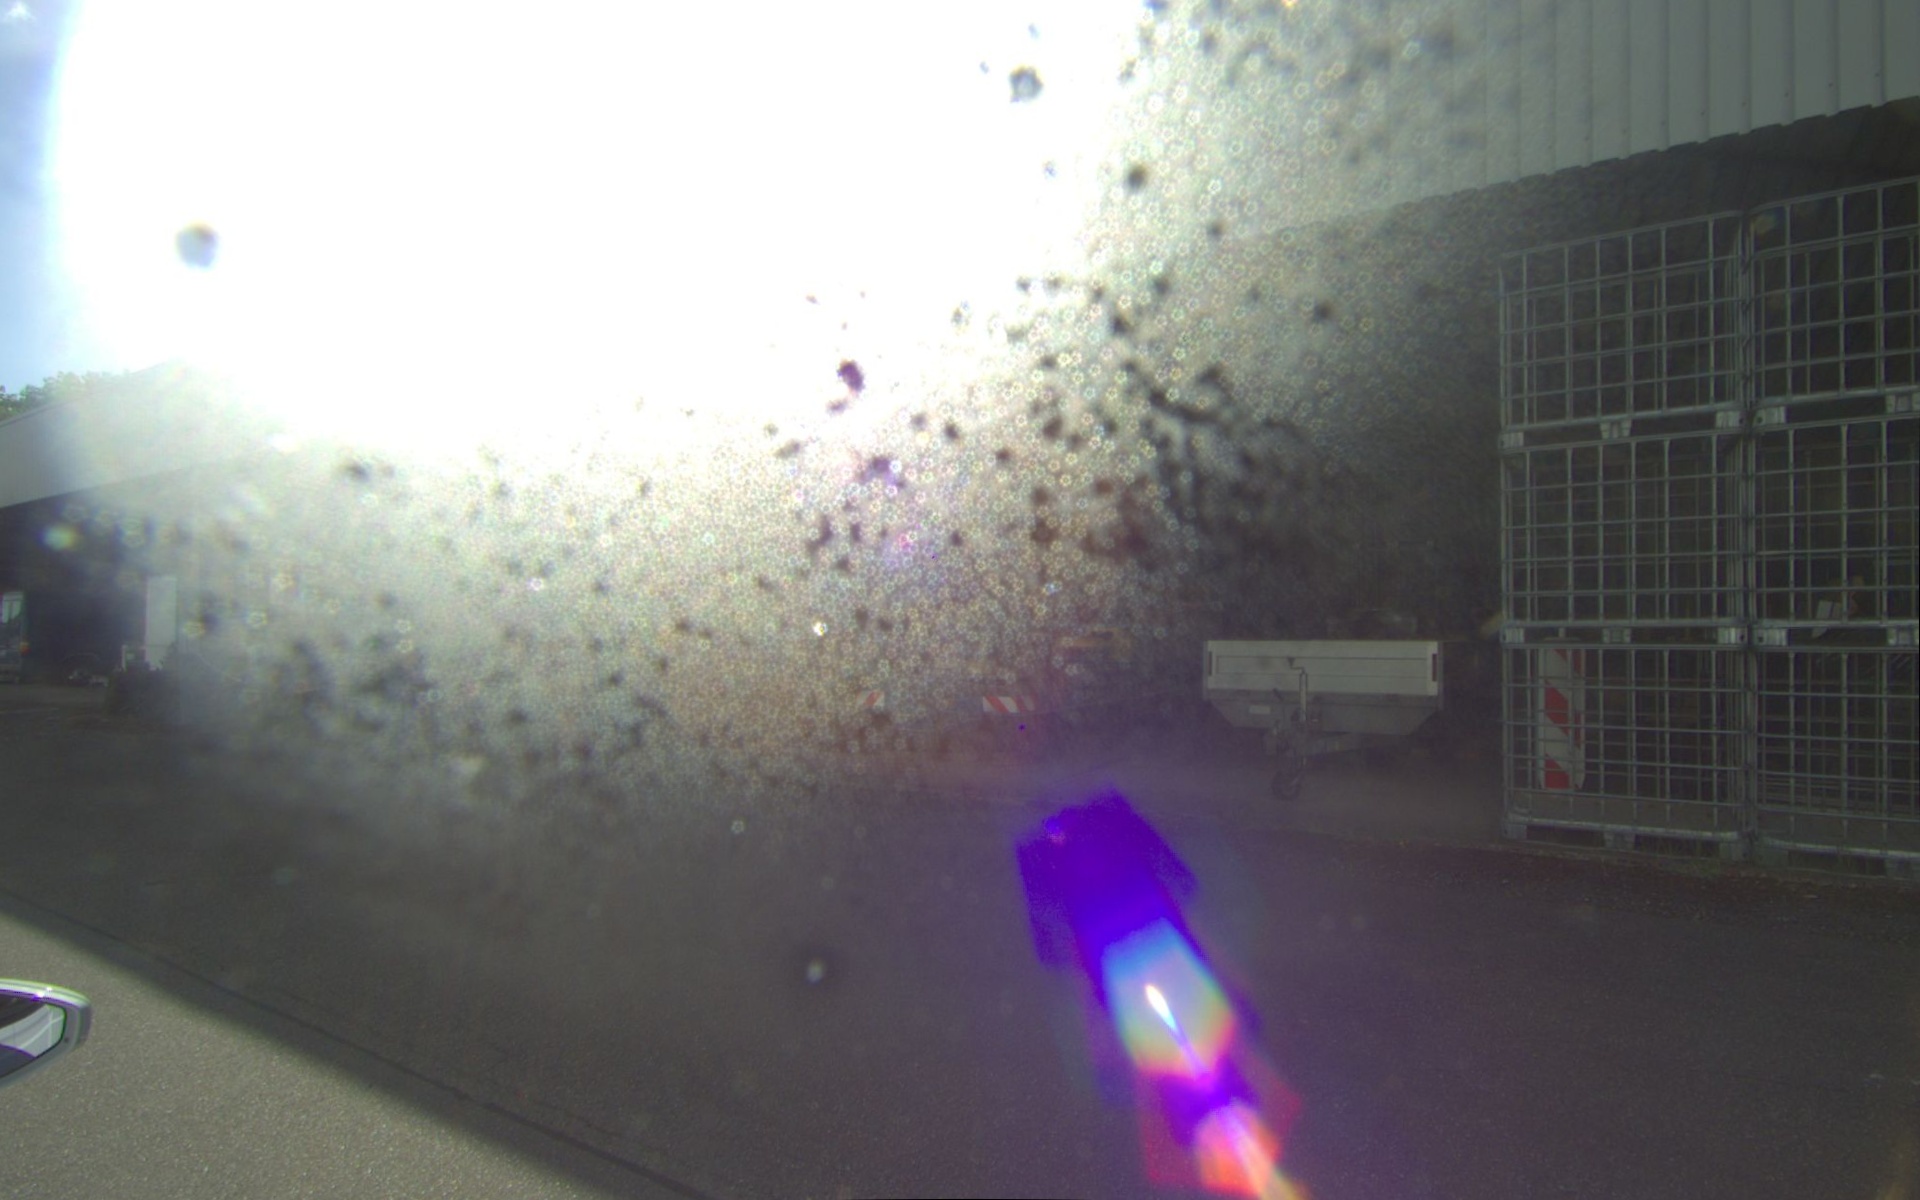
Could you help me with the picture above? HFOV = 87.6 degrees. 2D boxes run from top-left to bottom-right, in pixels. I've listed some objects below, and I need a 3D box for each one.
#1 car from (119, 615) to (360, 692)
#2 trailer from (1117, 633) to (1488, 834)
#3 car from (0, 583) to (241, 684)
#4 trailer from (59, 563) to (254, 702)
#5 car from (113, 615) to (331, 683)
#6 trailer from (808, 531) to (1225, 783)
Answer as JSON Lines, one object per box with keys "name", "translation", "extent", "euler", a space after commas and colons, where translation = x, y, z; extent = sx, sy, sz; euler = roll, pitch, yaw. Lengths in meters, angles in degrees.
{"name": "car", "translation": [-15.881, 1.227, 22.293], "extent": [1.662, 1.543, 4.031], "euler": [-3, -5, 33]}
{"name": "trailer", "translation": [3.502, 0.916, 9.174], "extent": [2.110, 1.148, 5.840], "euler": [-1, -1, 30]}
{"name": "car", "translation": [-21.373, 0.938, 25.639], "extent": [1.890, 2.337, 4.425], "euler": [-3, -4, 33]}
{"name": "trailer", "translation": [-15.266, 0.632, 19.093], "extent": [1.703, 2.429, 2.518], "euler": [-2, -2, 33]}
{"name": "car", "translation": [-18.220, 1.253, 24.910], "extent": [1.662, 1.543, 4.031], "euler": [-3, -5, 33]}
{"name": "trailer", "translation": [1.009, 0.522, 11.155], "extent": [2.049, 2.058, 5.753], "euler": [-1, -1, 33]}
